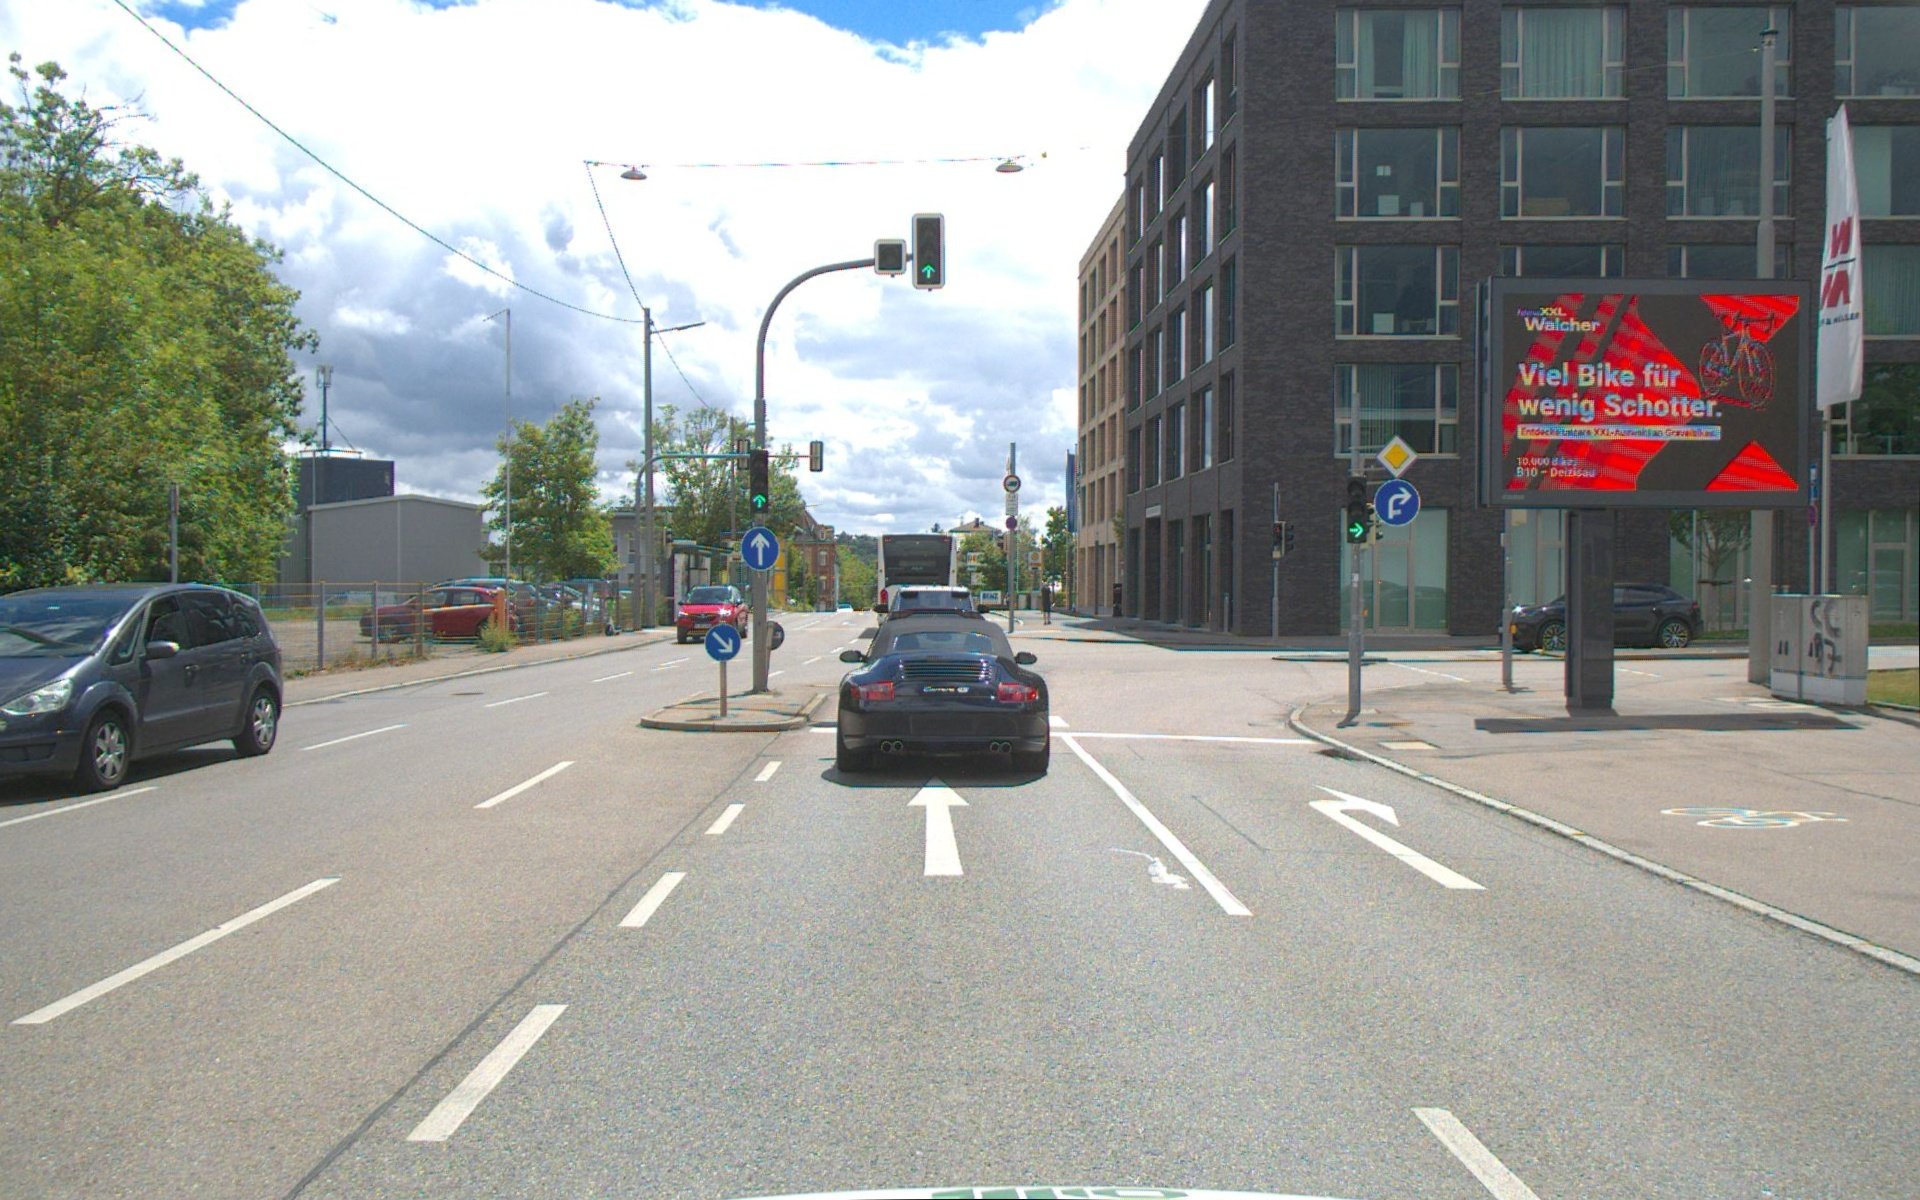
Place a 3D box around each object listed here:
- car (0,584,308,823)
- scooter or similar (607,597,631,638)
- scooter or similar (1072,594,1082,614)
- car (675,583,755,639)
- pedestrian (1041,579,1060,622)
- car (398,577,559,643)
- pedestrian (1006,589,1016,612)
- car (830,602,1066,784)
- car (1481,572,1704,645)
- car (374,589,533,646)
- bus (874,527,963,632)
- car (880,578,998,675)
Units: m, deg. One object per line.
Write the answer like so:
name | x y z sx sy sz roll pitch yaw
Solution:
car | -7.503 0.737 14.410 1.873 1.732 4.624 0 1 -1
scooter or similar | -10.442 0.526 50.702 0.415 1.231 1.126 1 0 3
scooter or similar | 6.937 0.222 98.402 0.418 1.173 1.403 -1 0 -2
car | -7.268 0.294 49.389 1.803 1.624 4.000 0 1 -1
pedestrian | 3.752 0.026 68.792 0.669 1.758 0.962 1 0 -2
car | -13.454 0.270 46.431 4.024 1.765 1.997 -1 0 -6
pedestrian | 3.598 0.047 116.584 0.673 1.563 0.856 0 -1 -2
car | -0.126 0.752 15.395 1.891 1.401 4.207 0 1 -1
car | 14.989 0.186 39.361 4.546 1.647 1.999 0 1 -2
car | -13.313 0.433 43.657 3.782 1.443 1.898 0 0 -11
bus | -1.337 -0.712 57.368 2.745 3.253 12.194 0 1 0
car | -0.449 0.433 29.600 1.892 1.610 4.204 0 0 -4
